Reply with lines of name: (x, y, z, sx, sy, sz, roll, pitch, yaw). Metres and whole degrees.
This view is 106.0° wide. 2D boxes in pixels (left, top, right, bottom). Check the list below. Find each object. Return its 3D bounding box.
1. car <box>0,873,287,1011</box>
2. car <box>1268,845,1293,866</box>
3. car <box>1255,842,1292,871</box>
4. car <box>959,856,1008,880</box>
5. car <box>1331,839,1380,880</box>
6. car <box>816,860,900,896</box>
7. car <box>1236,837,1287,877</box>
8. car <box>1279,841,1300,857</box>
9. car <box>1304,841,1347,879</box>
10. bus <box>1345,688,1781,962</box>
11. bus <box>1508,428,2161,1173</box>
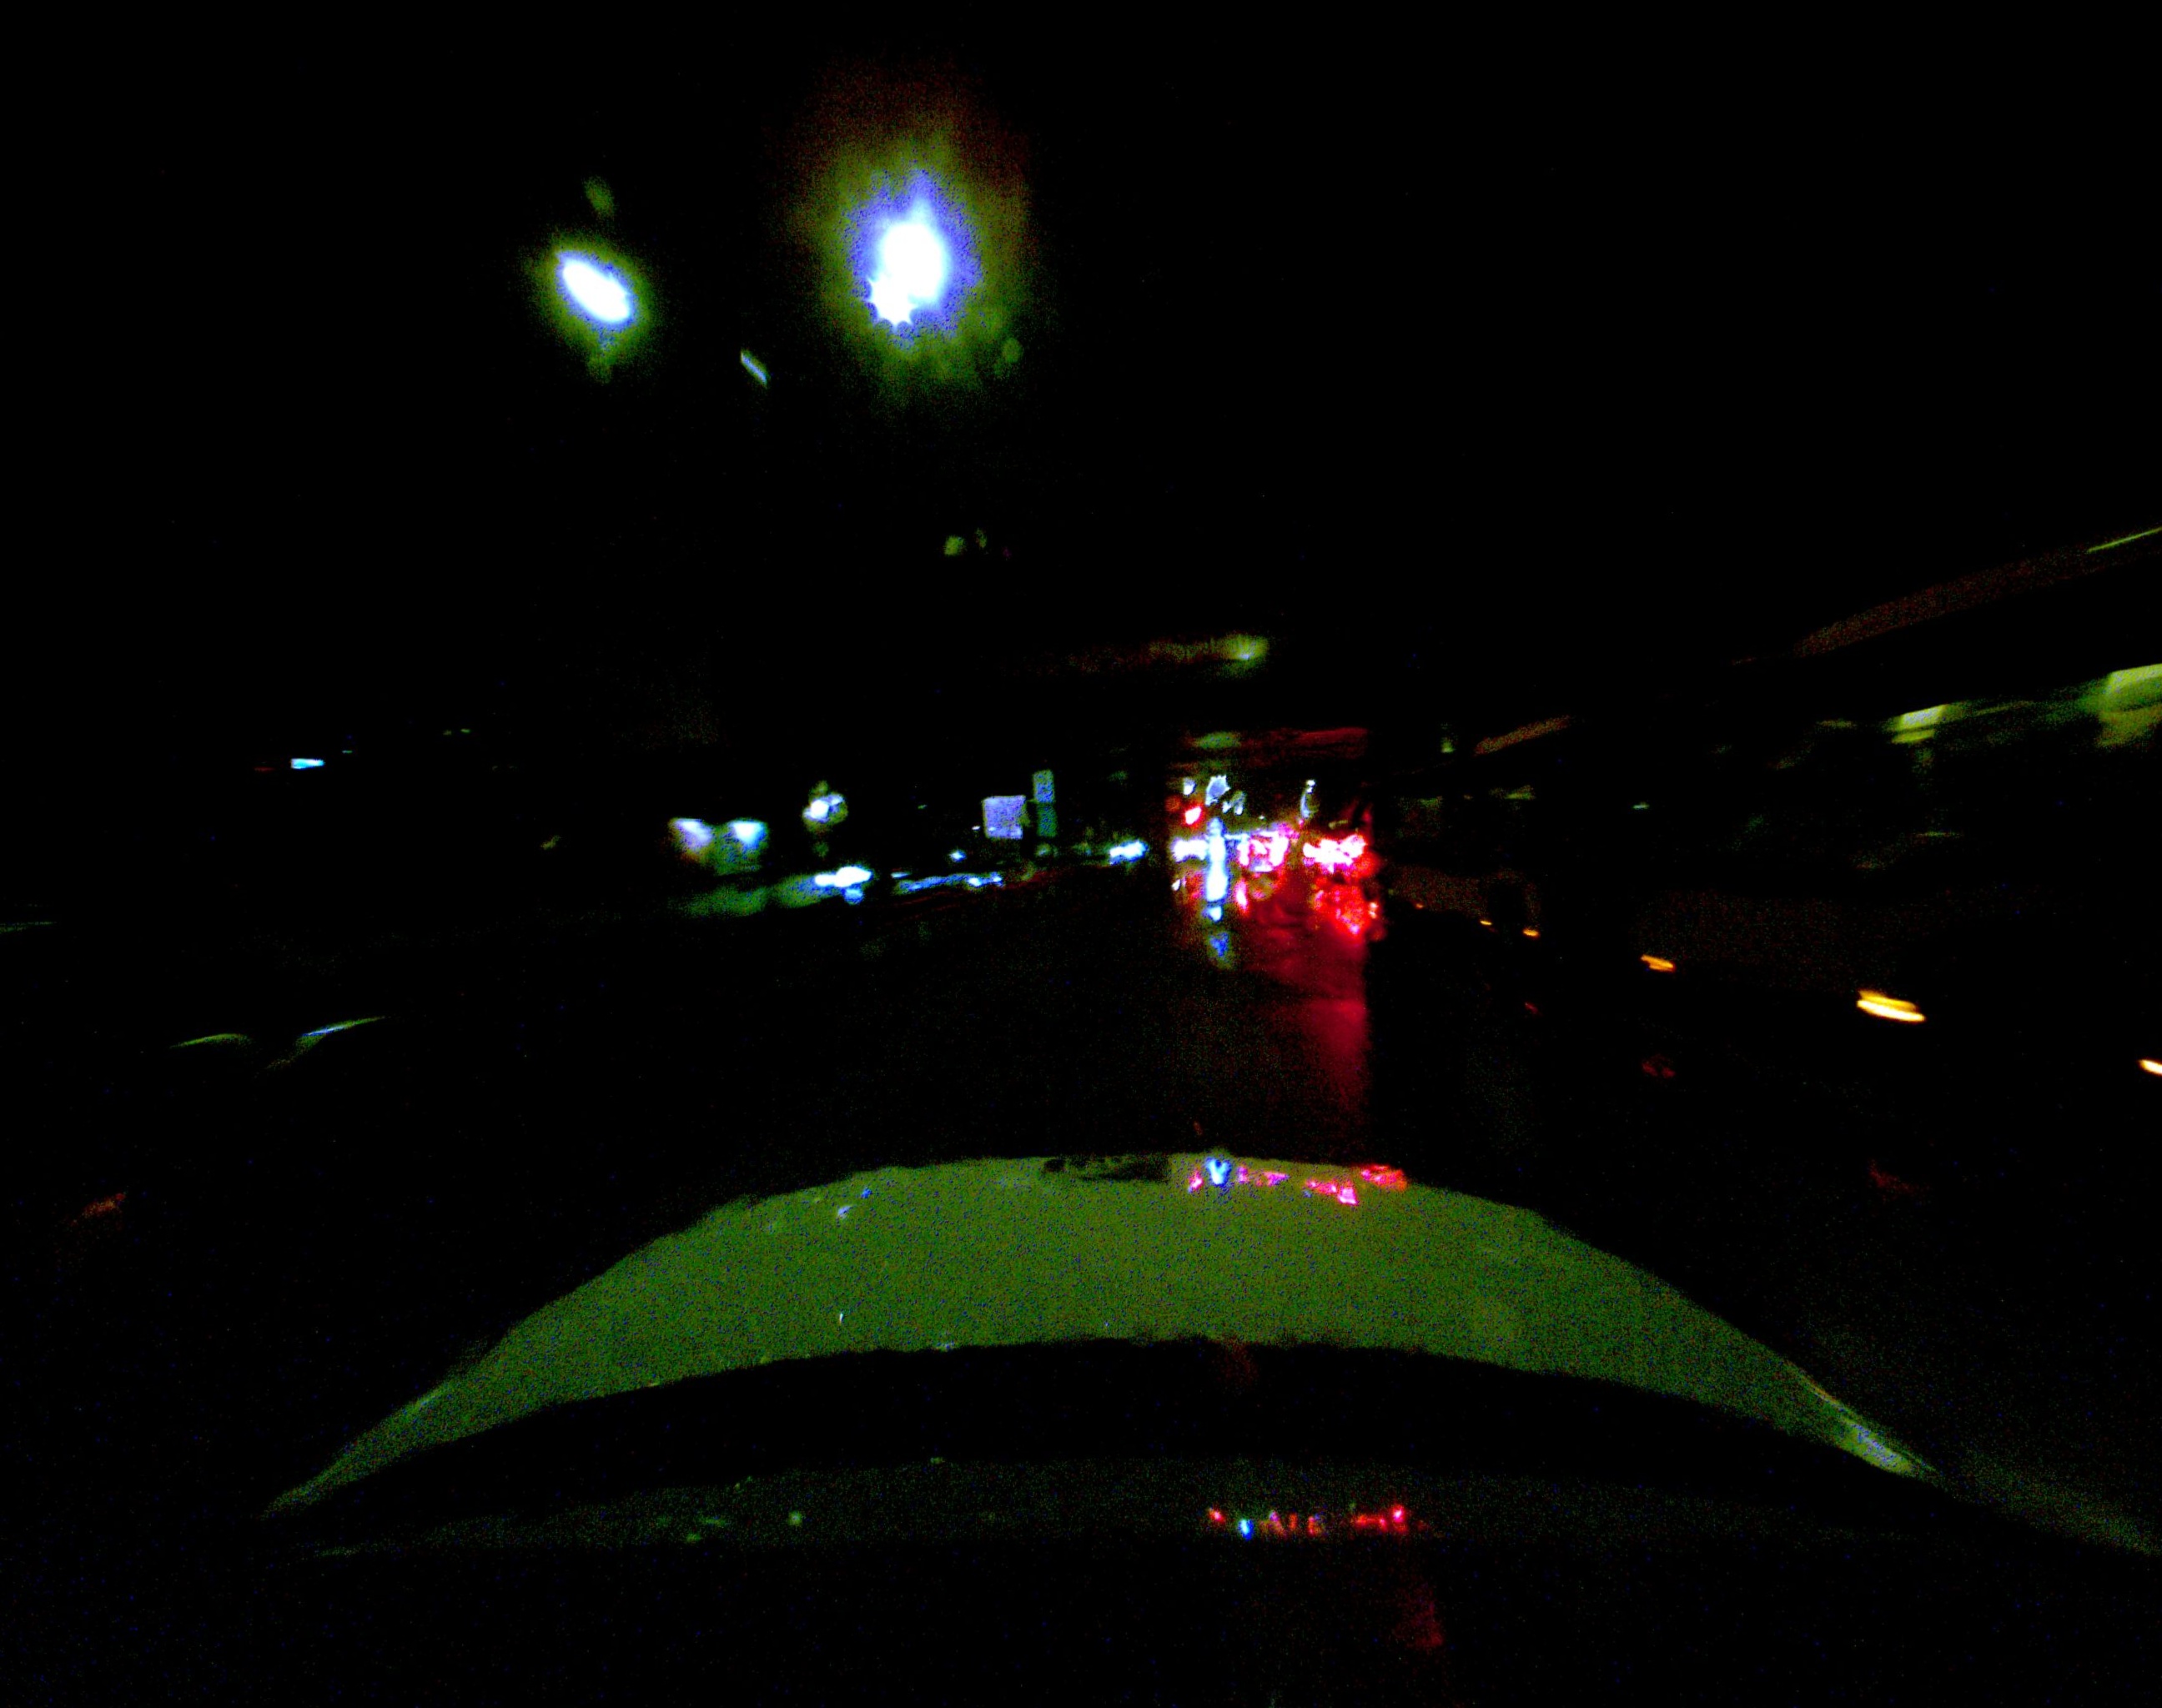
car: (-12.552, 1.022, 9.974, 1.559, 1.427, 3.957, -2, 0, 4)
car: (17.833, 0.114, 72.710, 1.773, 1.684, 4.019, -2, 0, 19)
car: (11.972, 0.125, 50.533, 1.773, 1.684, 4.019, -2, 0, 19)
car: (-6.107, 0.859, 51.267, 1.843, 1.288, 4.144, -2, 0, 11)
car: (11.296, 0.186, 33.520, 1.761, 1.501, 4.019, -2, 0, 19)
car: (-9.374, 0.978, 34.553, 1.844, 1.288, 4.141, -2, 0, 9)
car: (8.177, 0.104, 36.742, 1.773, 1.684, 4.019, -2, 0, 19)
car: (22.691, -0.584, 88.515, 1.773, 1.684, 4.019, -2, 0, 19)
car: (11.868, 0.232, 39.387, 1.773, 1.684, 4.019, -2, 0, 19)
bus: (7.226, -0.390, 14.303, 3.028, 3.212, 9.065, -1, 1, 6)
bus: (6.321, -0.280, 5.217, 3.029, 3.212, 9.063, -1, 1, 5)
